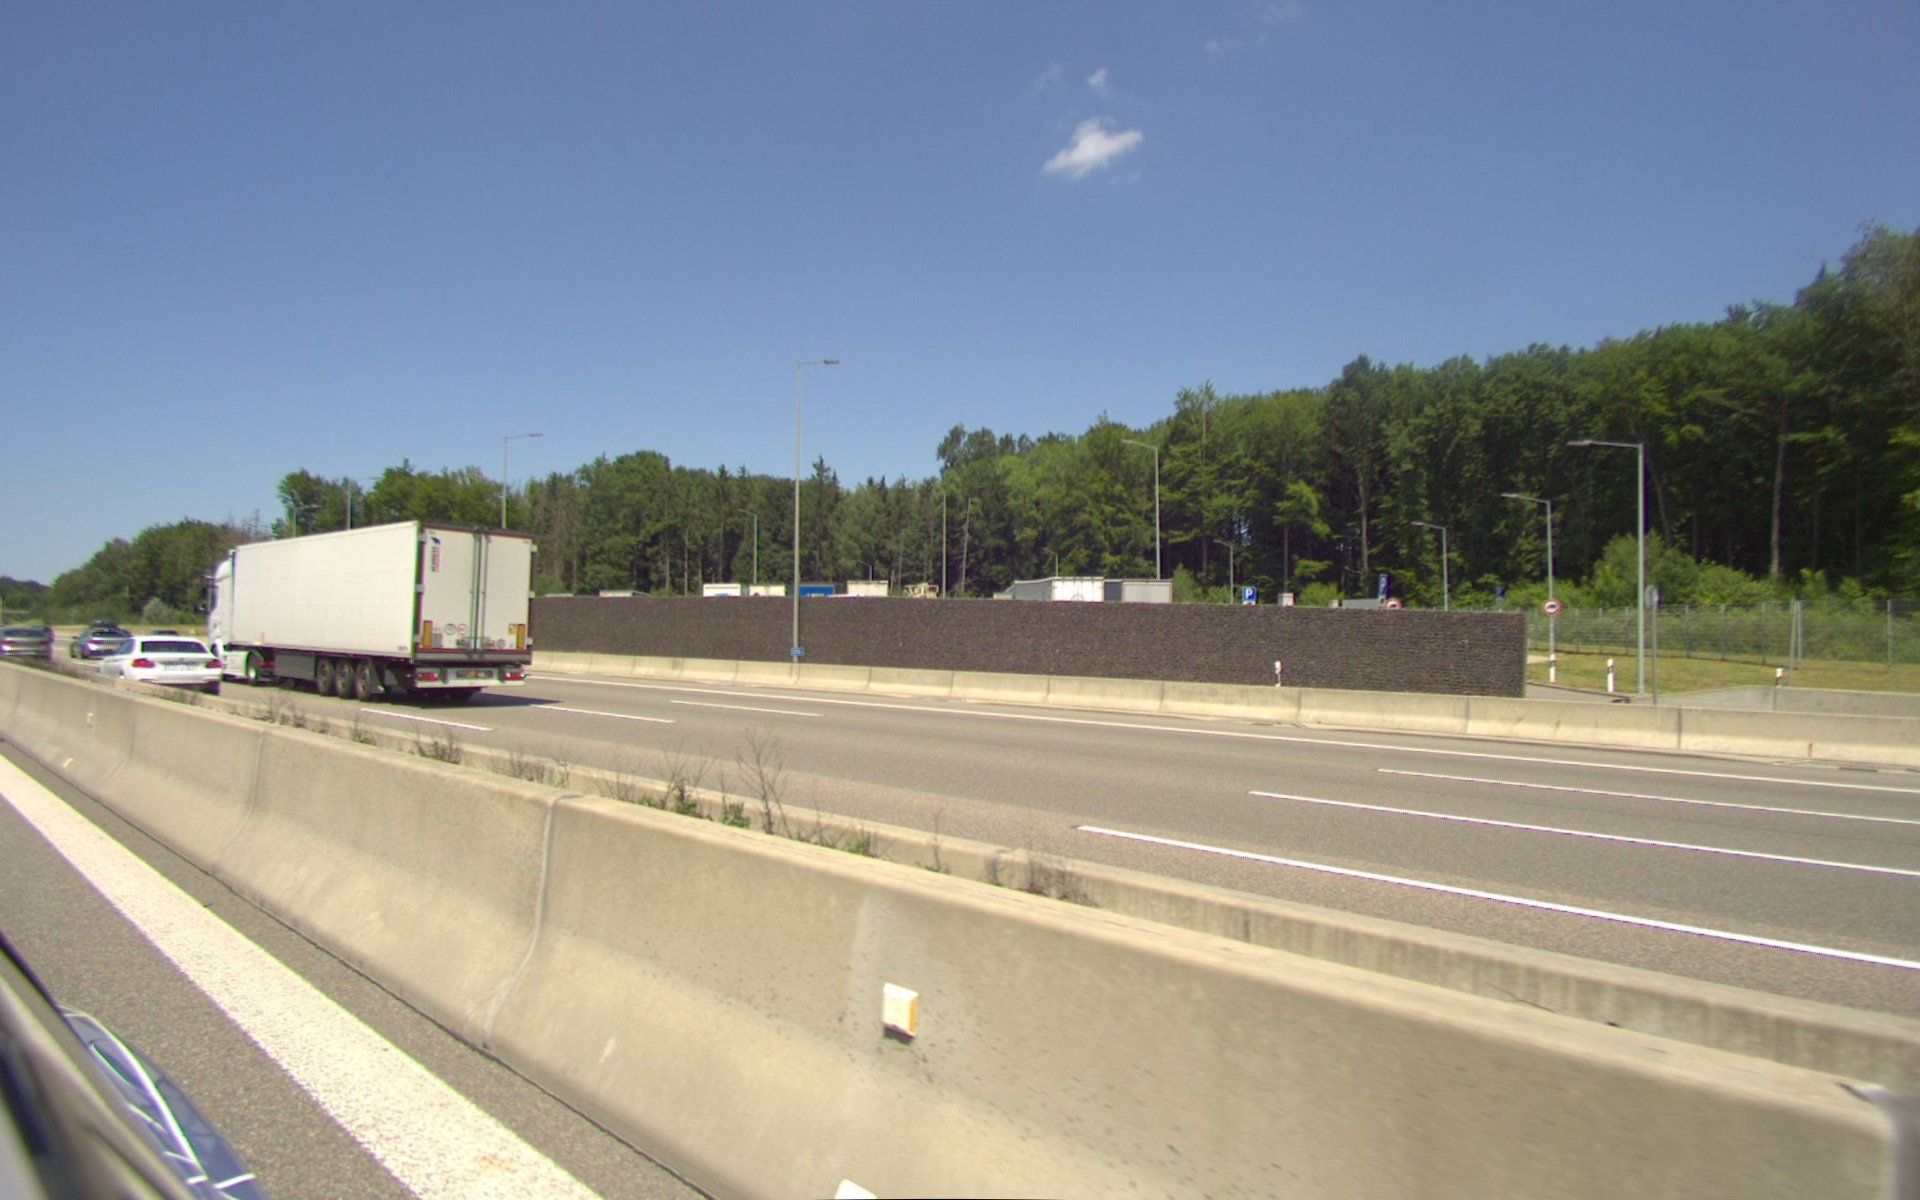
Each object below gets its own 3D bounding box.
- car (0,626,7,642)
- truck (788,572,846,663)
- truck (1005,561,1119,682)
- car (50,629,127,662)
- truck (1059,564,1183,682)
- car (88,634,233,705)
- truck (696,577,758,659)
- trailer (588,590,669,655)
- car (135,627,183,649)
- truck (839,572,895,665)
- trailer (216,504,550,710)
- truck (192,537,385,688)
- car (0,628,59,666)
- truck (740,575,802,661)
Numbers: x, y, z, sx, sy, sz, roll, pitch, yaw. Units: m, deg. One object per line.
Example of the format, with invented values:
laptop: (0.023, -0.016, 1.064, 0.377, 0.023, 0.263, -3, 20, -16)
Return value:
car: (-112.277, 3.945, 117.308, 5.921, 1.787, 1.972, -1, -3, 41)
truck: (-9.573, 1.293, 68.886, 3.179, 5.656, 11.548, 1, -2, -5)
truck: (5.174, 1.279, 55.869, 3.399, 5.656, 16.724, 1, -2, -4)
car: (-42.409, 2.184, 49.226, 5.014, 1.498, 1.973, -1, -4, 40)
truck: (8.631, 1.397, 57.348, 3.175, 5.656, 16.724, 1, -2, -4)
car: (-18.297, 1.522, 23.102, 4.152, 1.469, 1.730, -1, -3, 40)
truck: (-16.898, 1.380, 73.954, 3.179, 5.656, 8.496, 1, -2, -4)
trailer: (-28.246, 1.994, 87.148, 3.175, 5.111, 14.579, 1, -2, -4)
car: (-60.853, 2.898, 76.853, 4.210, 1.633, 1.973, -1, -3, 40)
truck: (-6.138, 1.298, 67.568, 3.317, 5.656, 11.548, 1, -2, -5)
trailer: (-15.892, 0.328, 26.844, 14.460, 4.257, 2.991, -1, -4, 41)
truck: (-20.782, 0.471, 31.174, 6.945, 4.168, 3.015, -1, -4, 41)
car: (-38.683, 1.887, 41.392, 5.131, 1.498, 1.973, -1, -3, 40)
truck: (-13.422, 1.387, 72.851, 3.179, 5.656, 11.548, 1, -2, -5)
